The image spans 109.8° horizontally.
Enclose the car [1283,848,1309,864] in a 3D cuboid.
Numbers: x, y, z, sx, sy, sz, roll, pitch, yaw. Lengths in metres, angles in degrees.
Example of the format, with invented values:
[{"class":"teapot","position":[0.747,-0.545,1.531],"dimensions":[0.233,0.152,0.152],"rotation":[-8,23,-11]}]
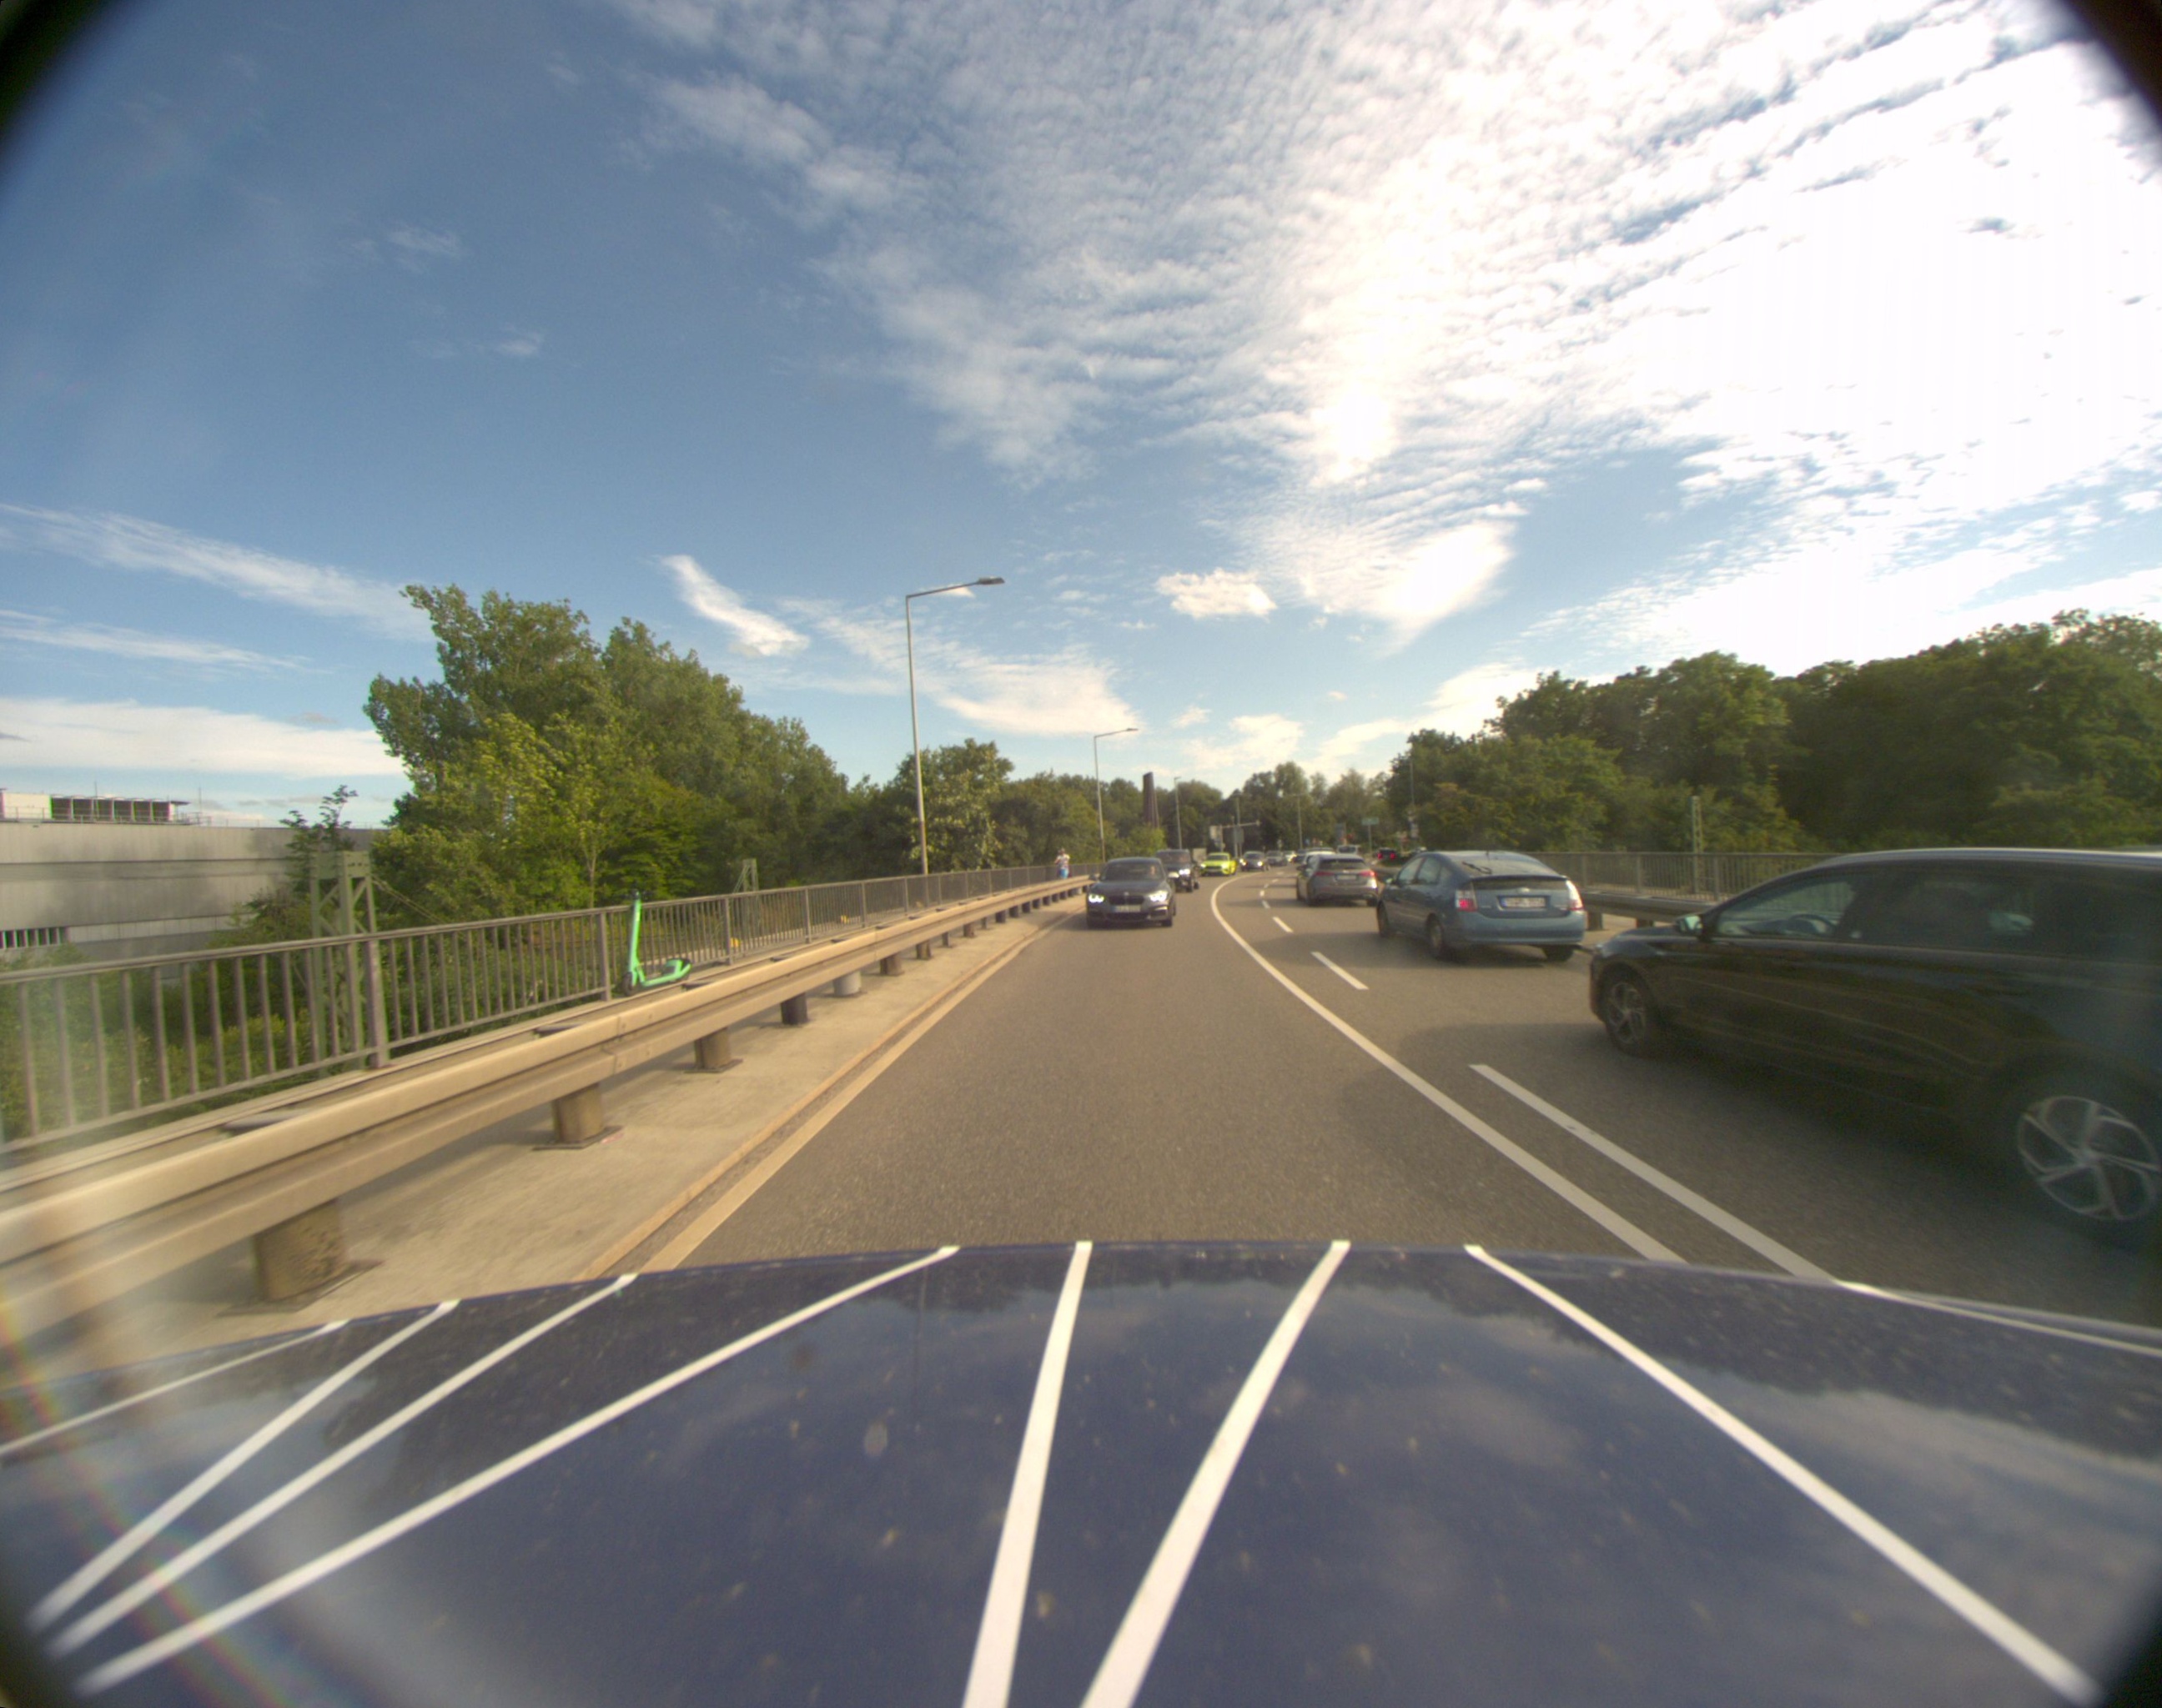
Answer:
[{"class":"car","position":[27.789,0.245,98.219],"dimensions":[1.994,2.002,4.281],"rotation":[-1,1,34]}]

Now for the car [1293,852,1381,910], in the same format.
[{"class":"car","position":[7.143,0.682,21.596],"dimensions":[1.816,1.448,4.328],"rotation":[-1,0,11]}]

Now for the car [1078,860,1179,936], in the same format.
[{"class":"car","position":[1.161,0.878,16.658],"dimensions":[1.785,1.396,3.973],"rotation":[-1,0,9]}]

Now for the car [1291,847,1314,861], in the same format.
[{"class":"car","position":[26.339,-0.008,90.276],"dimensions":[1.995,1.591,4.288],"rotation":[-1,1,26]}]

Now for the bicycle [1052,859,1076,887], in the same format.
[{"class":"bicycle","position":[-0.719,0.814,32.693],"dimensions":[0.596,1.114,1.698],"rotation":[-1,1,15]}]

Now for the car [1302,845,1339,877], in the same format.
[{"class":"car","position":[13.536,0.367,42.983],"dimensions":[1.872,1.656,4.635],"rotation":[-1,0,18]}]

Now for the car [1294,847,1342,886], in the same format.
[{"class":"car","position":[10.067,0.497,32.459],"dimensions":[1.685,1.536,3.927],"rotation":[-1,0,14]}]

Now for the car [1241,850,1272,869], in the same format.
[{"class":"car","position":[13.312,0.426,57.463],"dimensions":[1.688,1.315,3.790],"rotation":[-1,1,22]}]

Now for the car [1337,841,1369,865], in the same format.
[{"class":"car","position":[24.095,-0.107,67.247],"dimensions":[1.986,1.953,5.057],"rotation":[-1,0,27]}]

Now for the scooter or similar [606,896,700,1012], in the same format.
[{"class":"scooter or similar","position":[-4.847,1.097,8.665],"dimensions":[0.266,1.155,1.189],"rotation":[-1,1,5]}]

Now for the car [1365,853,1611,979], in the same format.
[{"class":"car","position":[5.714,0.755,11.350],"dimensions":[1.763,1.481,4.393],"rotation":[-1,0,7]}]

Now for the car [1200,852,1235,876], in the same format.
[{"class":"car","position":[8.722,0.606,48.403],"dimensions":[1.817,1.396,4.396],"rotation":[-1,0,15]}]

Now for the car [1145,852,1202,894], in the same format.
[{"class":"car","position":[3.727,0.700,30.021],"dimensions":[1.817,1.498,4.395],"rotation":[-1,0,12]}]

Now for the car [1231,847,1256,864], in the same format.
[{"class":"car","position":[14.183,0.120,66.080],"dimensions":[1.688,1.315,3.789],"rotation":[-1,1,19]}]

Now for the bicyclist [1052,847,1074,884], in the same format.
[{"class":"bicyclist","position":[-0.757,0.496,32.574],"dimensions":[0.708,1.548,0.754],"rotation":[-1,1,15]}]

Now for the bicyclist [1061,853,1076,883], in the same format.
[{"class":"bicyclist","position":[-0.547,0.605,33.114],"dimensions":[0.500,1.294,0.539],"rotation":[-1,1,15]}]

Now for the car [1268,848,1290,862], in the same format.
[{"class":"car","position":[19.243,0.075,73.693],"dimensions":[1.688,1.315,3.789],"rotation":[-1,1,21]}]

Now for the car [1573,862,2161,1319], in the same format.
[{"class":"car","position":[4.655,0.832,3.772],"dimensions":[1.764,1.481,4.446],"rotation":[-1,0,4]}]
